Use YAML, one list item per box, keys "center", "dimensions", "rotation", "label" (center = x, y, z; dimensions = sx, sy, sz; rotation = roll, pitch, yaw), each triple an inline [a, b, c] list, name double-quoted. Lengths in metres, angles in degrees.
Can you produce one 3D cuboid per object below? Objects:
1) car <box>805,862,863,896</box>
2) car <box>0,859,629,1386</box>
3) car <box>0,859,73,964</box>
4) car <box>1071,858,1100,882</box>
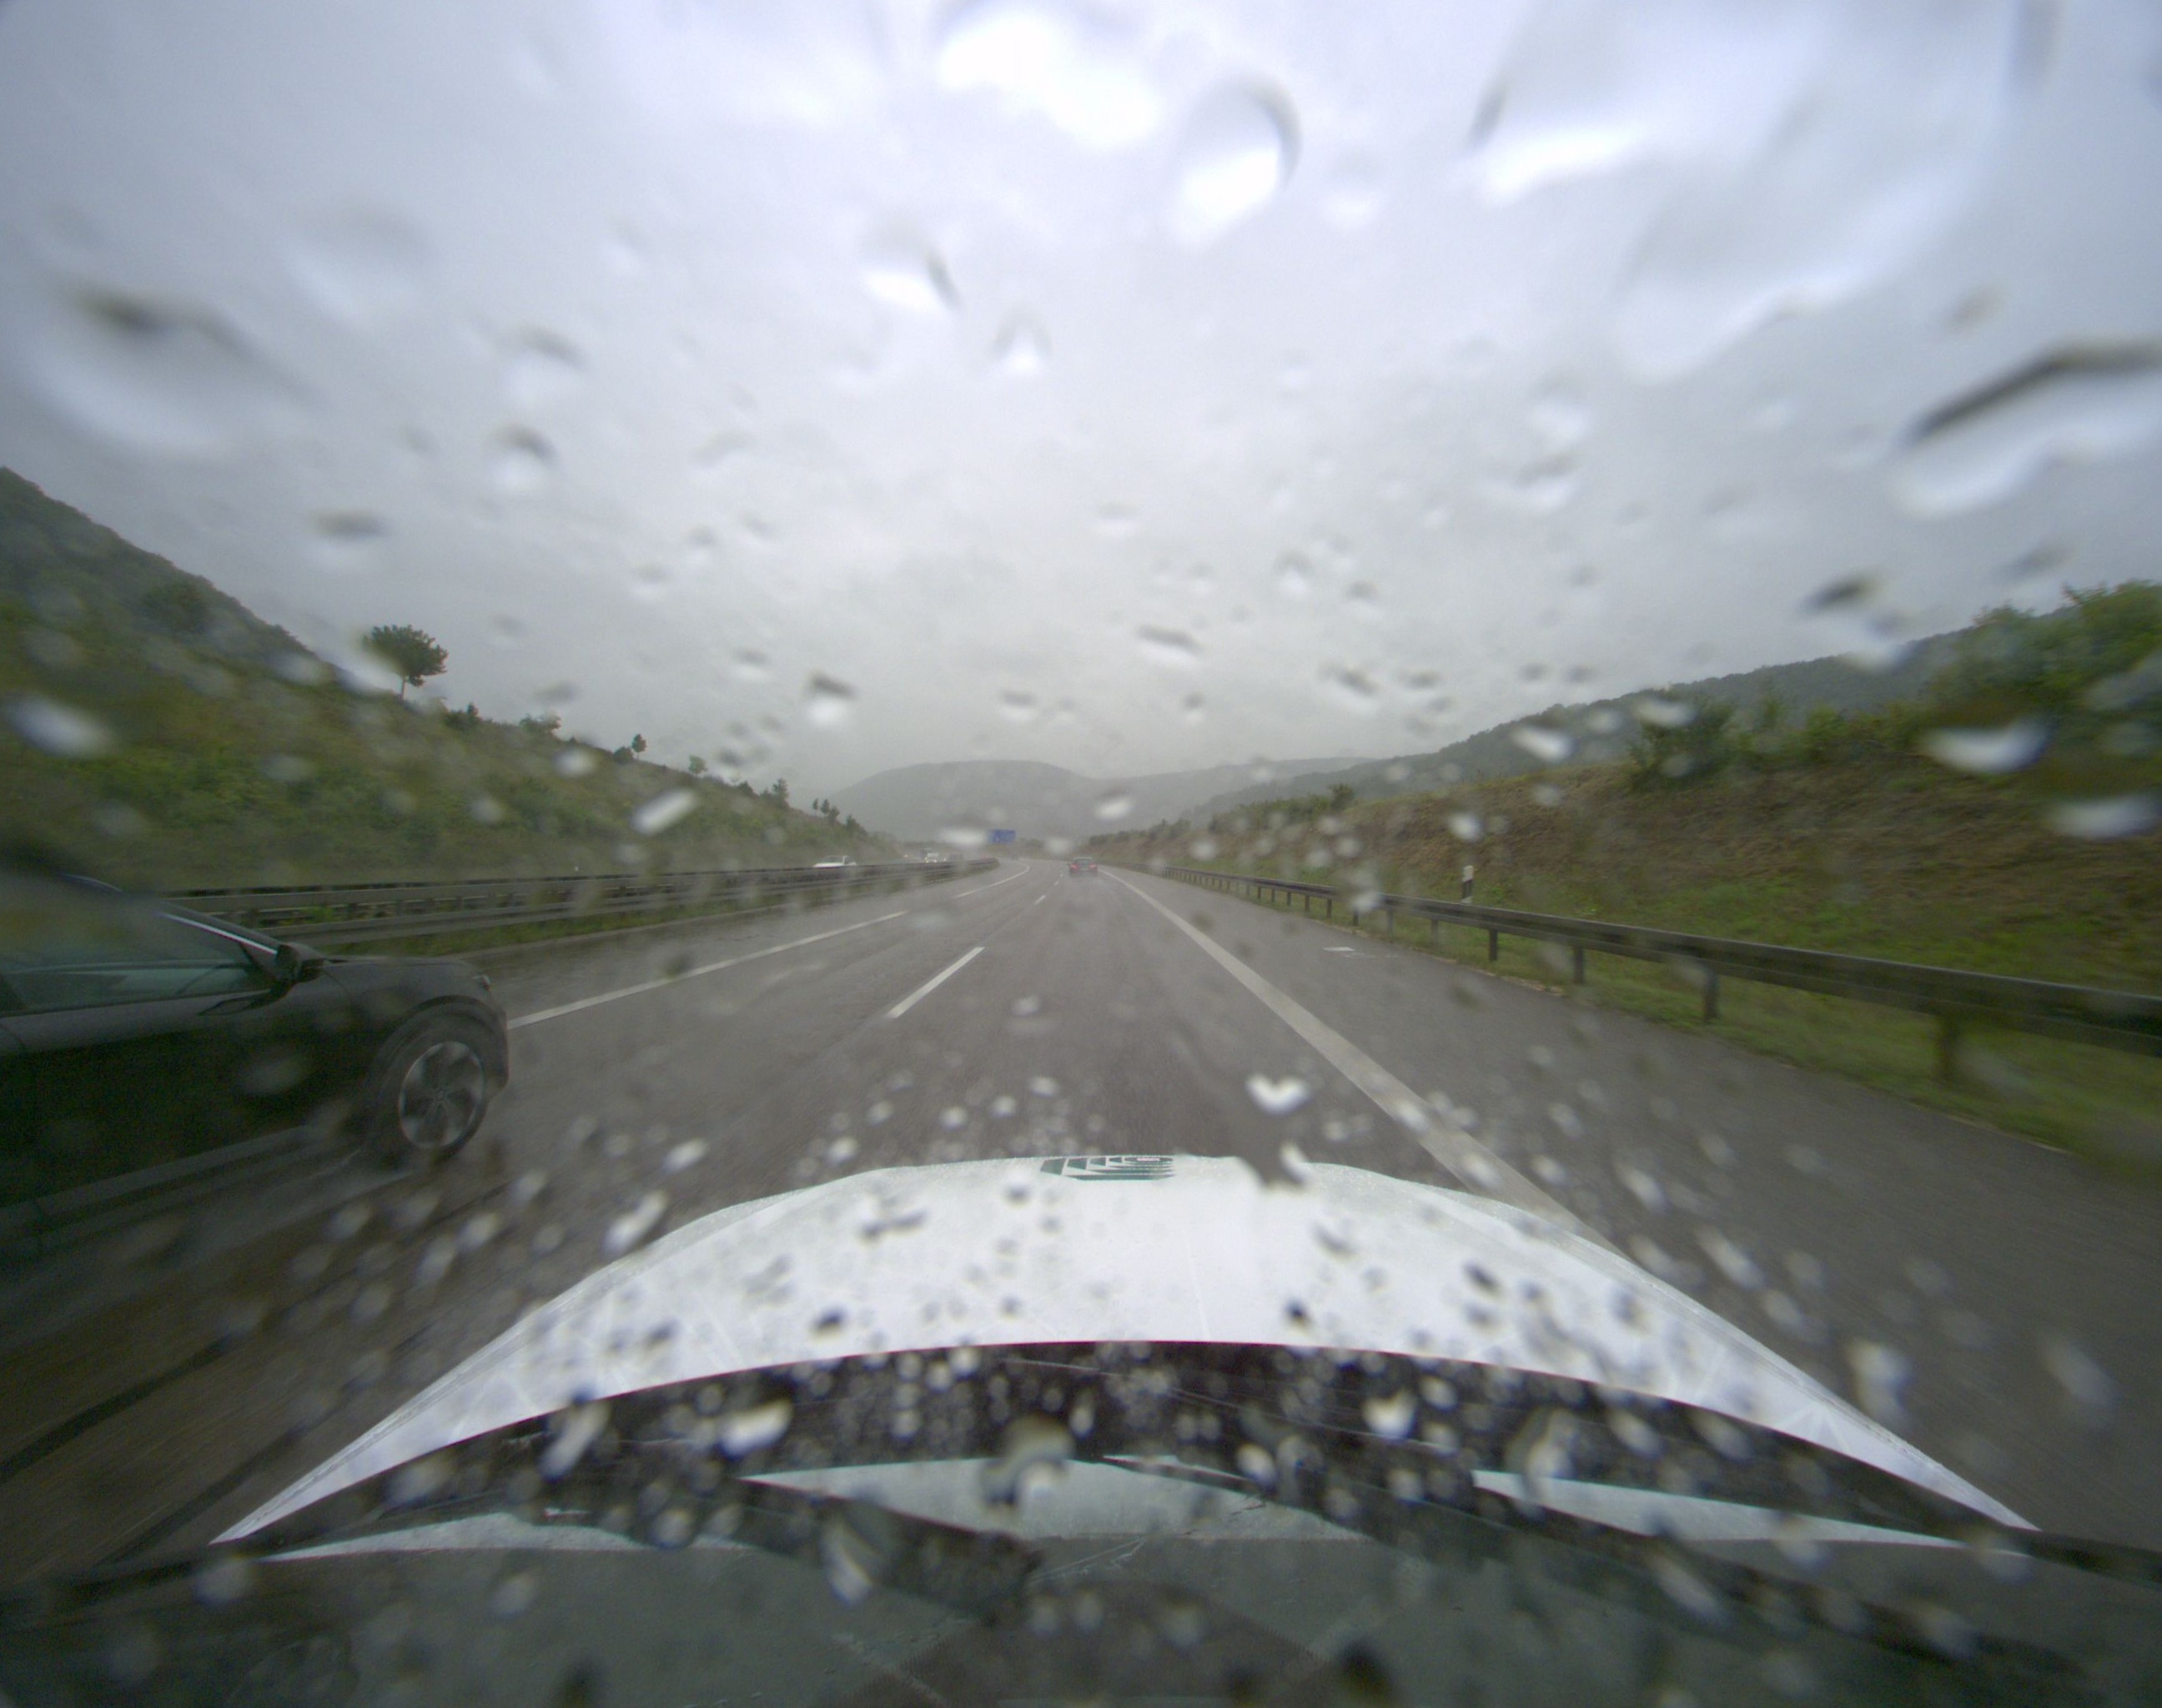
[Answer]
- center: [-15.858, 1.545, 52.646]
  dimensions: [1.986, 2.013, 5.391]
  rotation: [-1, 0, 1]
  label: "car"
- center: [-4.303, 0.802, 2.982]
  dimensions: [2.396, 1.515, 4.788]
  rotation: [-1, 0, 3]
  label: "car"
- center: [-19.071, 0.984, 12.240]
  dimensions: [1.986, 1.745, 4.660]
  rotation: [-1, 0, 1]
  label: "car"
- center: [0.270, 0.982, 51.963]
  dimensions: [1.675, 1.472, 3.811]
  rotation: [-1, 0, -2]
  label: "car"
